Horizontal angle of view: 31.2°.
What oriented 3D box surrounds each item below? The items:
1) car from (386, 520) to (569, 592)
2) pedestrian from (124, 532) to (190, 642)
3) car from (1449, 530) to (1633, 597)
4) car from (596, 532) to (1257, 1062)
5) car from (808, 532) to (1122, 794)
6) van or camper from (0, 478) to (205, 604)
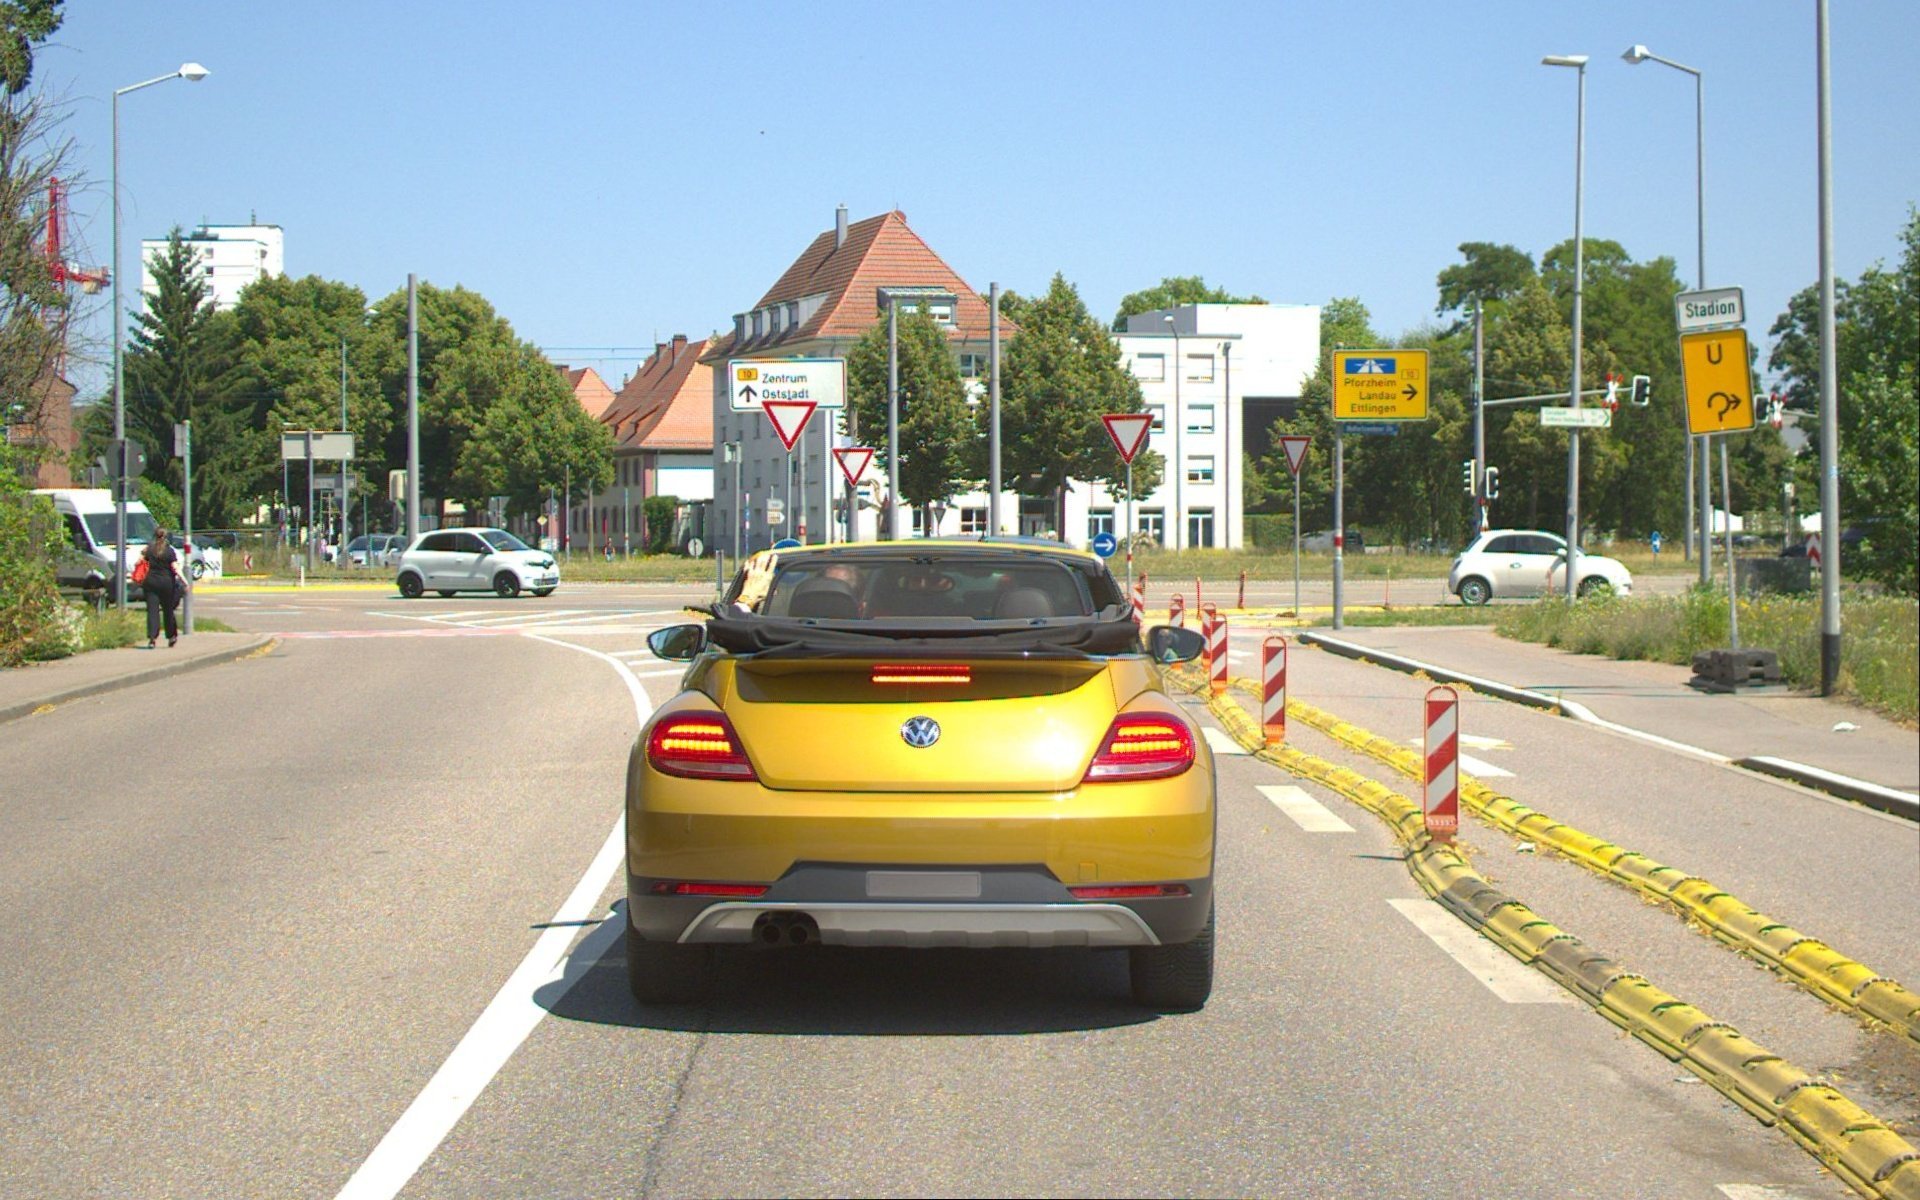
[{"bbox_3d":[-10.704,-0.982,76.240,3.701,1.565,1.680,0,1,27],"label":"car"},{"bbox_3d":[-10.733,-0.181,45.947,0.722,1.449,0.818,0,1,-4],"label":"pedestrian"},{"bbox_3d":[11.245,-0.703,66.464,3.439,1.271,1.201,0,1,13],"label":"car"},{"bbox_3d":[-0.142,0.499,11.249,1.790,1.432,3.814,0,1,-2],"label":"car"},{"bbox_3d":[0.032,0.312,20.941,1.726,1.438,4.000,0,1,0],"label":"car"},{"bbox_3d":[-18.597,-1.253,73.379,2.072,2.568,6.679,-1,1,-39],"label":"van or camper"}]
